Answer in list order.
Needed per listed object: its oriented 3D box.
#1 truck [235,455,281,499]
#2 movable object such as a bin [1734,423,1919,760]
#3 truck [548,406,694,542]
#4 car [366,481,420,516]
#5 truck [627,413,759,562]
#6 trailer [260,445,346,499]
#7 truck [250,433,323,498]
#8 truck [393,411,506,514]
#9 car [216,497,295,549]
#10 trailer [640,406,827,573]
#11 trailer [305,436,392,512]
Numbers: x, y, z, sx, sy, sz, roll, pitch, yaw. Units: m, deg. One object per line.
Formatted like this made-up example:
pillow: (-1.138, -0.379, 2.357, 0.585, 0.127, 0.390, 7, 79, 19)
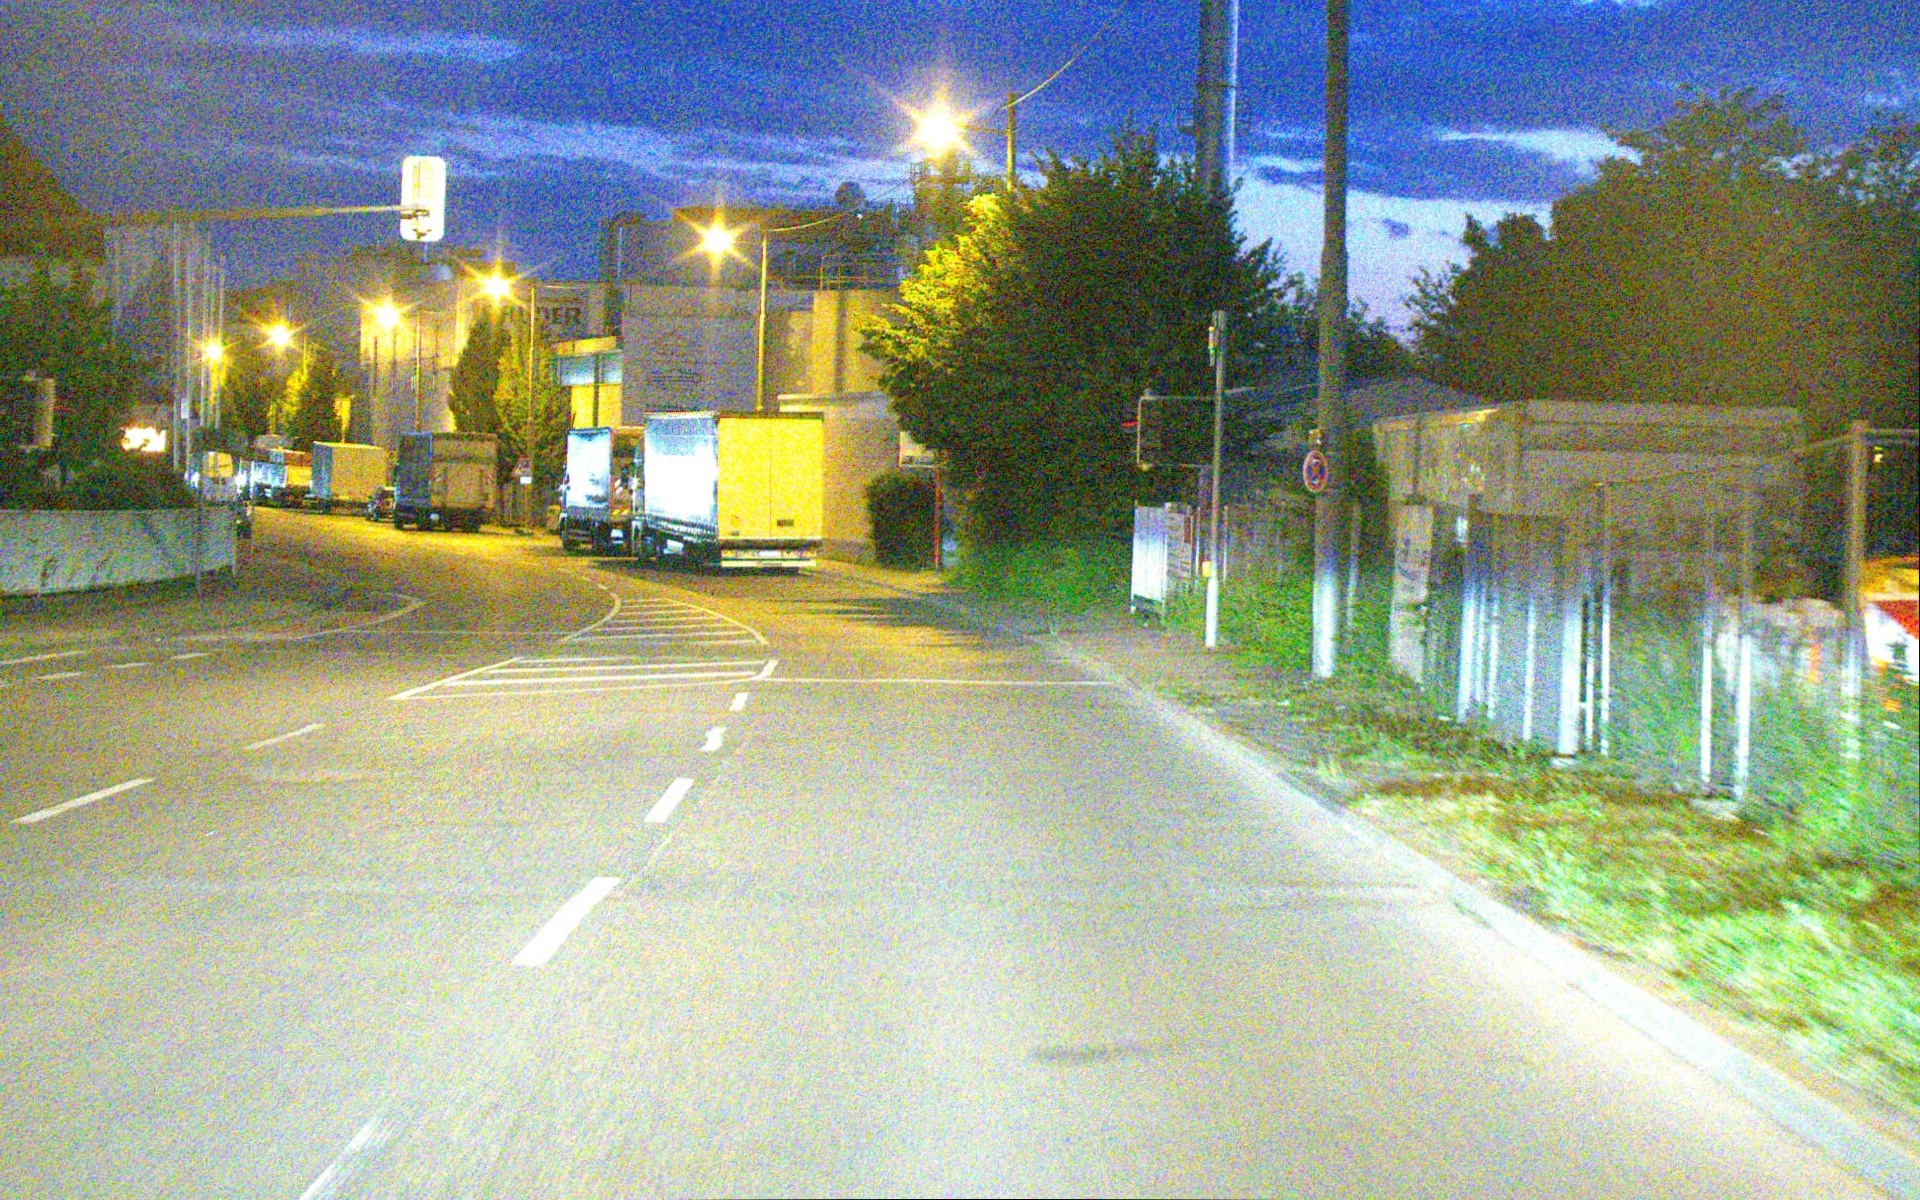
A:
truck: (-40.623, -7.125, 198.931, 1.993, 2.399, 5.295, 1, 2, -18)
movable object such as a bin: (6.884, -0.063, 25.305, 1.679, 2.375, 1.617, 2, 1, -12)
truck: (-10.518, -3.871, 105.750, 2.829, 3.969, 10.346, 0, 2, -15)
car: (-25.245, -4.505, 152.924, 1.852, 1.514, 3.820, 0, 2, -17)
truck: (-7.468, -3.127, 95.524, 2.829, 3.969, 6.052, 0, 2, -13)
trailer: (-34.564, -6.703, 180.586, 3.183, 2.739, 10.719, 0, 2, -18)
truck: (-36.748, -7.321, 187.371, 3.150, 3.451, 6.676, 0, 2, -18)
truck: (-20.560, -5.496, 137.984, 3.519, 3.969, 10.346, 0, 2, -14)
car: (-24.124, -2.646, 117.582, 1.993, 1.630, 4.776, 2, 2, -19)
trailer: (-6.040, -2.874, 88.930, 2.808, 3.969, 13.980, 0, 2, -12)
trailer: (-29.416, -6.063, 165.099, 2.686, 3.452, 7.812, 2, 2, -20)
